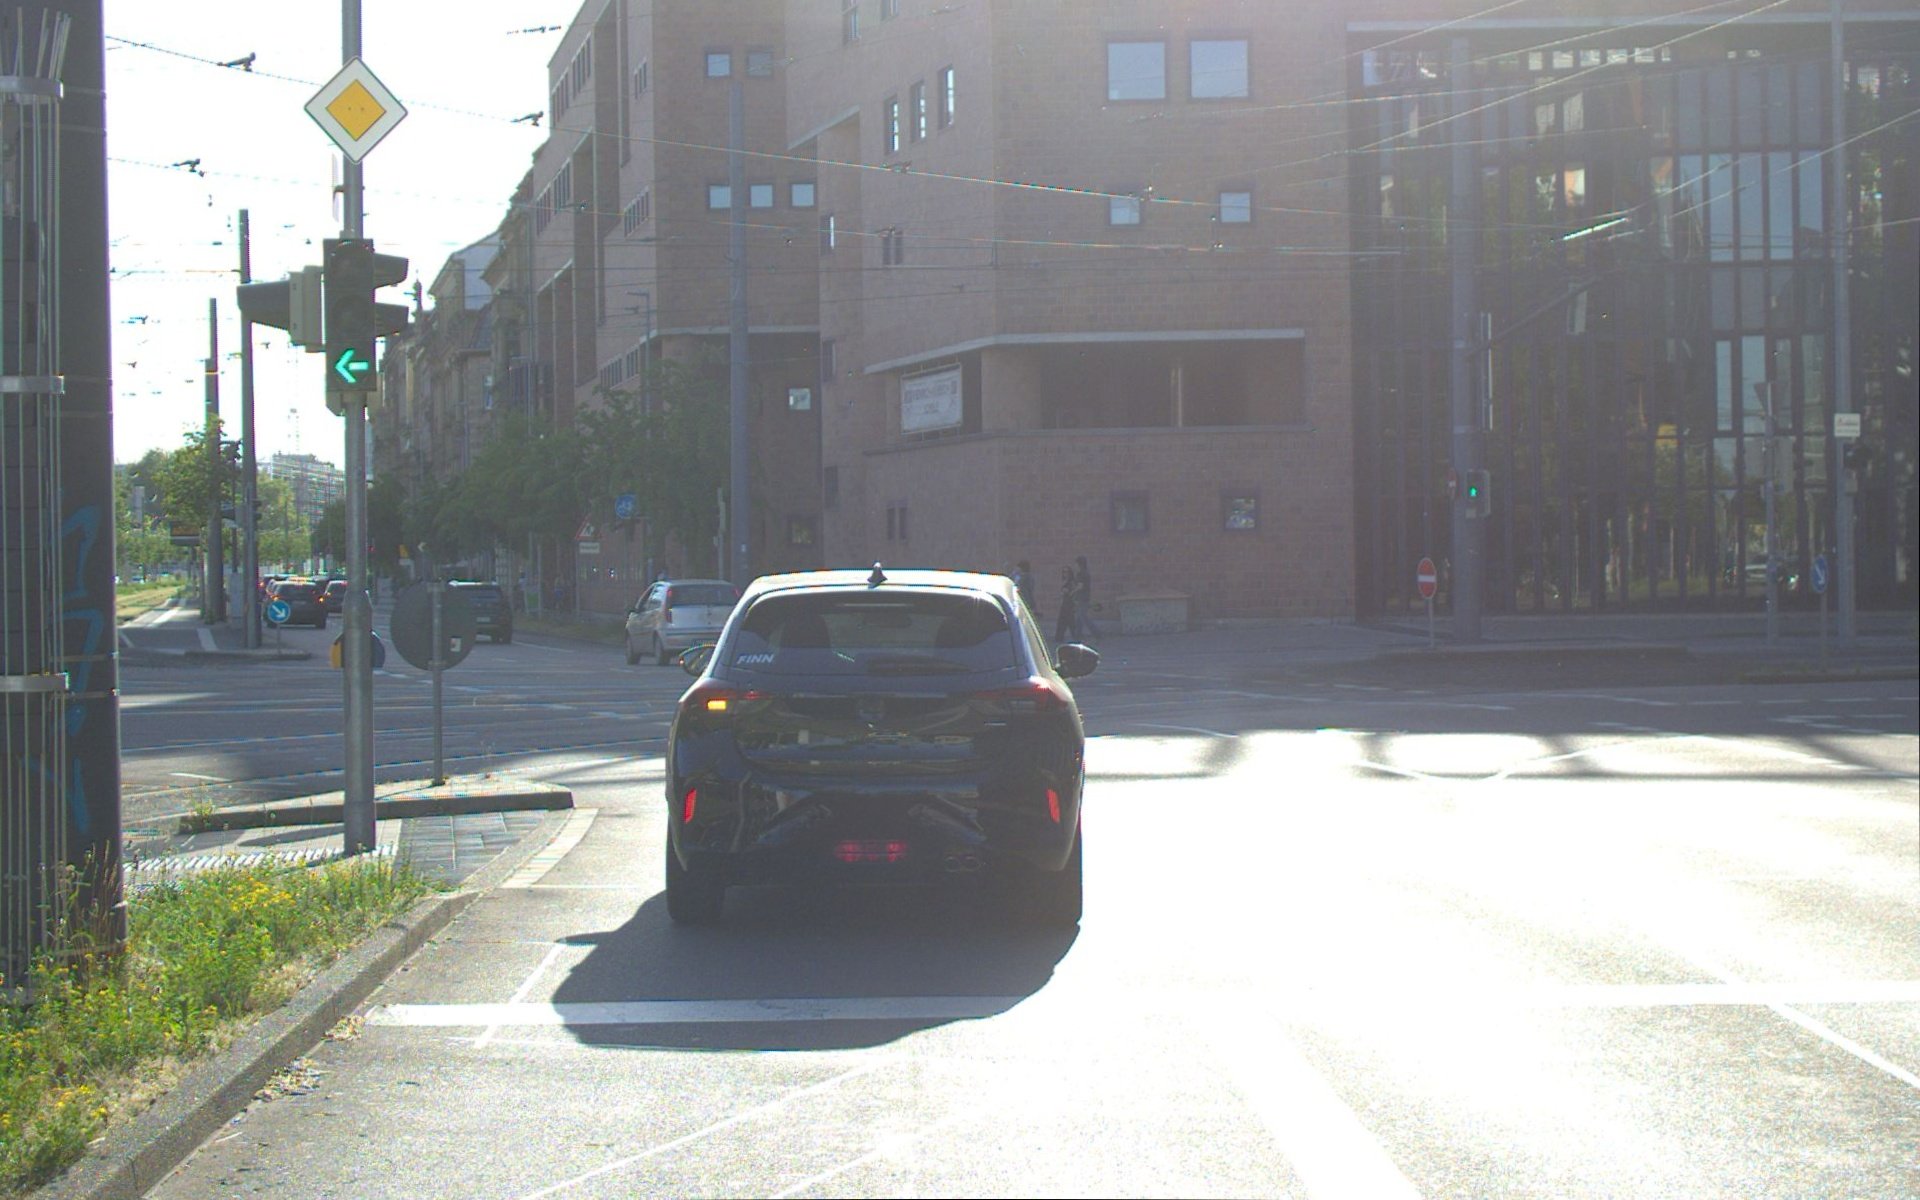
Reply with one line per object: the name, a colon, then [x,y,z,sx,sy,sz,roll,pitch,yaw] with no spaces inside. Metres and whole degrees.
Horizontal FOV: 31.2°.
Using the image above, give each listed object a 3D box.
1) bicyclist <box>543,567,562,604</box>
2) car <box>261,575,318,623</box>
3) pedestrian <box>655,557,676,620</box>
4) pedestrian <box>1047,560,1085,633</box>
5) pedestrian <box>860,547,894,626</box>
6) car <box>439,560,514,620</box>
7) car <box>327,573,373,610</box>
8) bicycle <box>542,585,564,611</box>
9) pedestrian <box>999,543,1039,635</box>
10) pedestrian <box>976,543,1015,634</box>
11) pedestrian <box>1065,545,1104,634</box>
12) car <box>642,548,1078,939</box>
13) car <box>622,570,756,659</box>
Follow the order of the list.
bicyclist: [-14.735,-0.516,124.363,0.645,1.335,0.653,-1,0,-10]
car: [-21.469,-0.051,110.021,1.720,1.448,3.699,-2,1,-11]
pedestrian: [-8.499,-0.345,99.089,0.547,1.780,0.573,-1,3,-8]
pedestrian: [2.170,-0.077,70.262,0.547,1.472,0.573,-2,2,-29]
pedestrian: [-1.902,-0.314,78.521,0.640,1.780,0.688,-2,1,-8]
car: [-12.473,-0.267,88.574,1.670,1.448,3.699,-2,1,-11]
car: [-24.715,-0.353,139.188,1.720,1.448,3.699,-2,1,-11]
bicycle: [-14.731,-0.067,124.391,0.648,0.901,2.346,-1,1,-10]
pedestrian: [1.159,-0.215,67.272,0.571,1.780,0.549,-2,1,-19]
pedestrian: [0.700,-0.226,67.842,0.571,1.780,0.549,-2,1,-19]
pedestrian: [2.500,-0.214,69.119,0.571,1.780,0.549,-2,1,-19]
car: [-0.407,0.528,15.131,1.672,1.496,3.691,1,1,-1]
car: [-4.690,0.228,59.173,1.559,1.451,3.432,-1,1,-17]
